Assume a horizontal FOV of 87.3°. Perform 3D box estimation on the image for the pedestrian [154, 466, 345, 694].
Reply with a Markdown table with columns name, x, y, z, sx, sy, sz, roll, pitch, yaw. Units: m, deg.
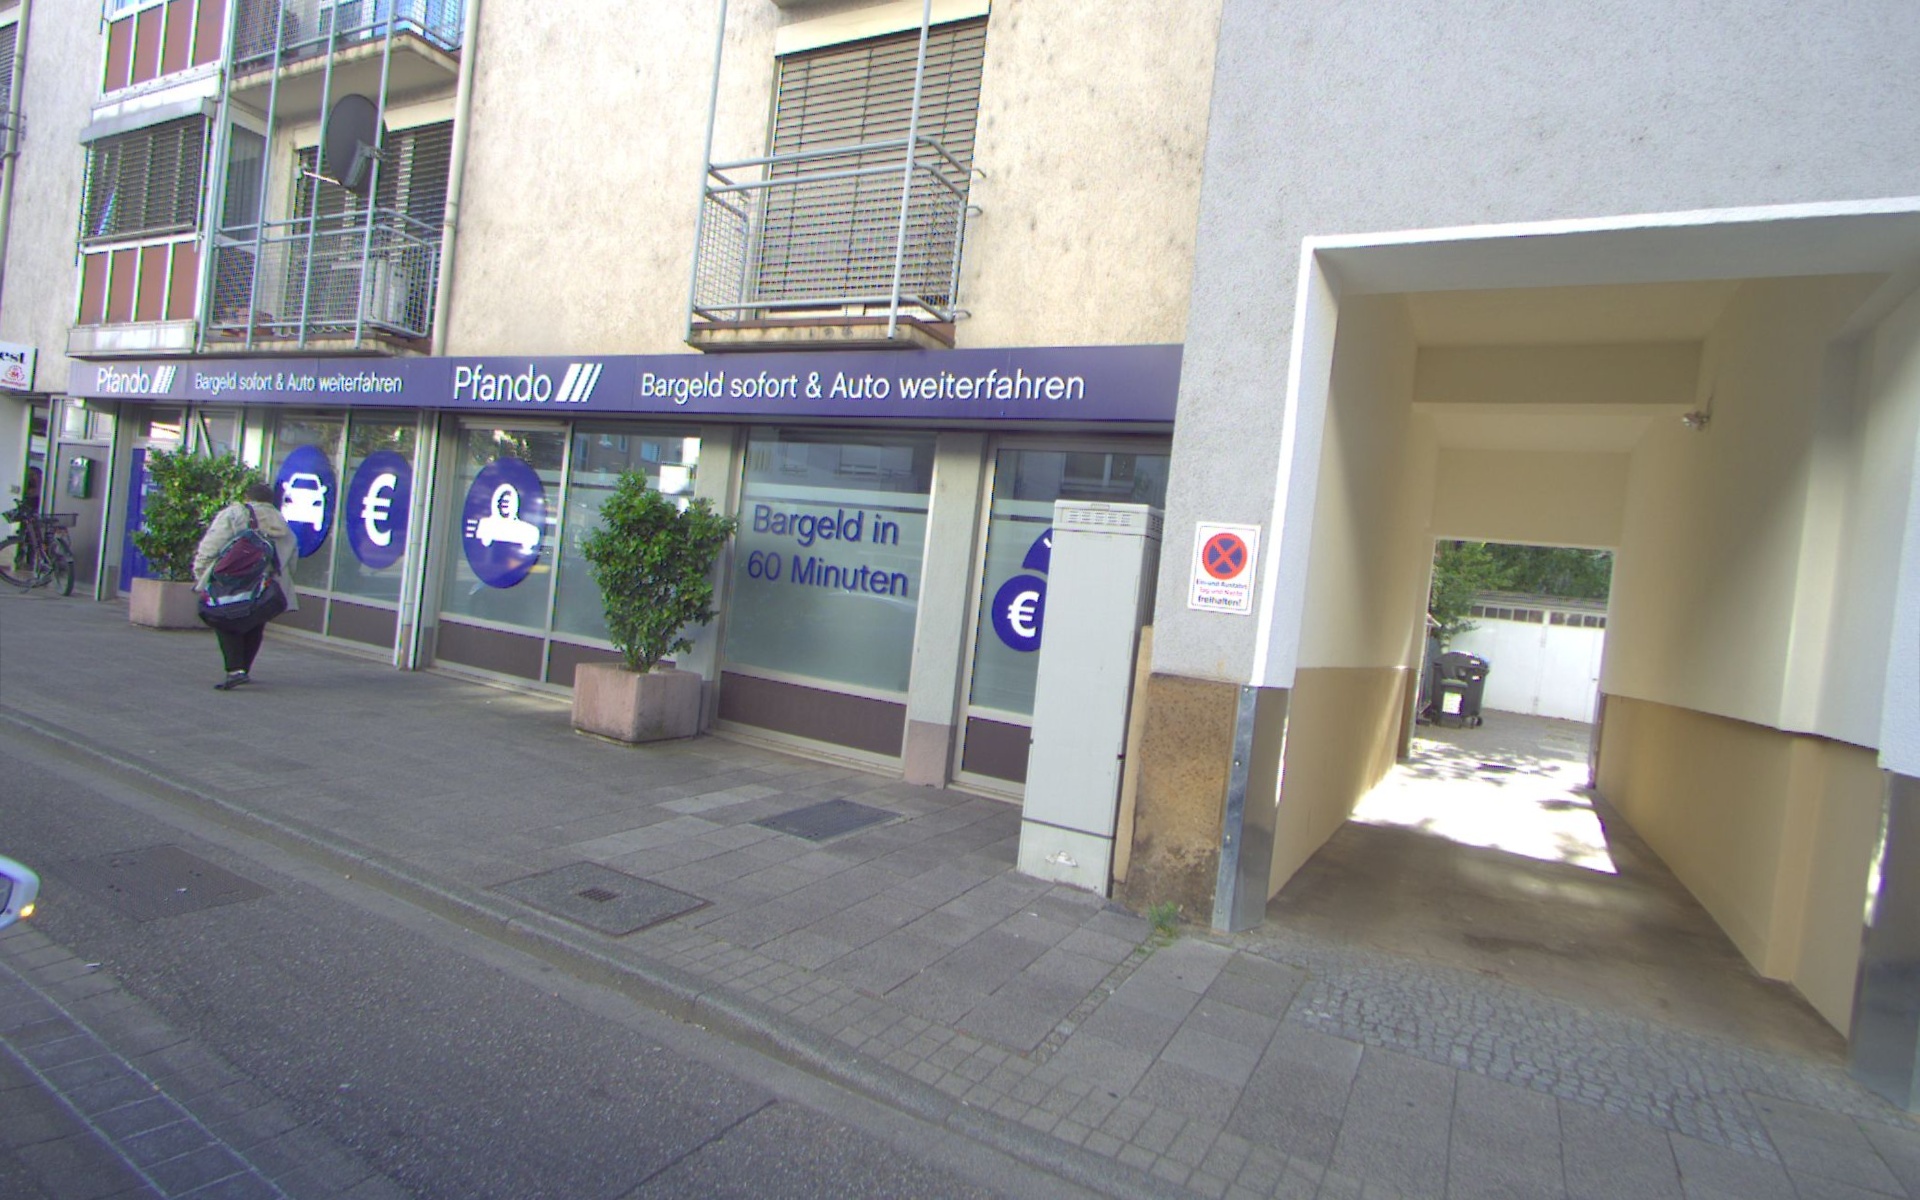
| name | x | y | z | sx | sy | sz | roll | pitch | yaw |
| --- | --- | --- | --- | --- | --- | --- | --- | --- | --- |
| pedestrian | -5.462 | -0.138 | 7.757 | 0.738 | 1.611 | 0.827 | 6 | -1 | 31 |

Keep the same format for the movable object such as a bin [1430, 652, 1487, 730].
| name | x | y | z | sx | sy | sz | roll | pitch | yaw |
| --- | --- | --- | --- | --- | --- | --- | --- | --- | --- |
| movable object such as a bin | 9.983 | 1.797 | 20.141 | 0.873 | 1.411 | 0.758 | 7 | 2 | 28 |

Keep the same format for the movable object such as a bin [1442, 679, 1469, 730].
| name | x | y | z | sx | sy | sz | roll | pitch | yaw |
| --- | --- | --- | --- | --- | --- | --- | --- | --- | --- |
| movable object such as a bin | 9.581 | 2.014 | 19.459 | 0.365 | 0.920 | 0.420 | 7 | 2 | 28 |

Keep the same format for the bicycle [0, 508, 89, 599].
| name | x | y | z | sx | sy | sz | roll | pitch | yaw |
| --- | --- | --- | --- | --- | --- | --- | --- | --- | --- |
| bicycle | -11.875 | -0.618 | 12.863 | 1.678 | 1.010 | 0.543 | 6 | -1 | 32 |
